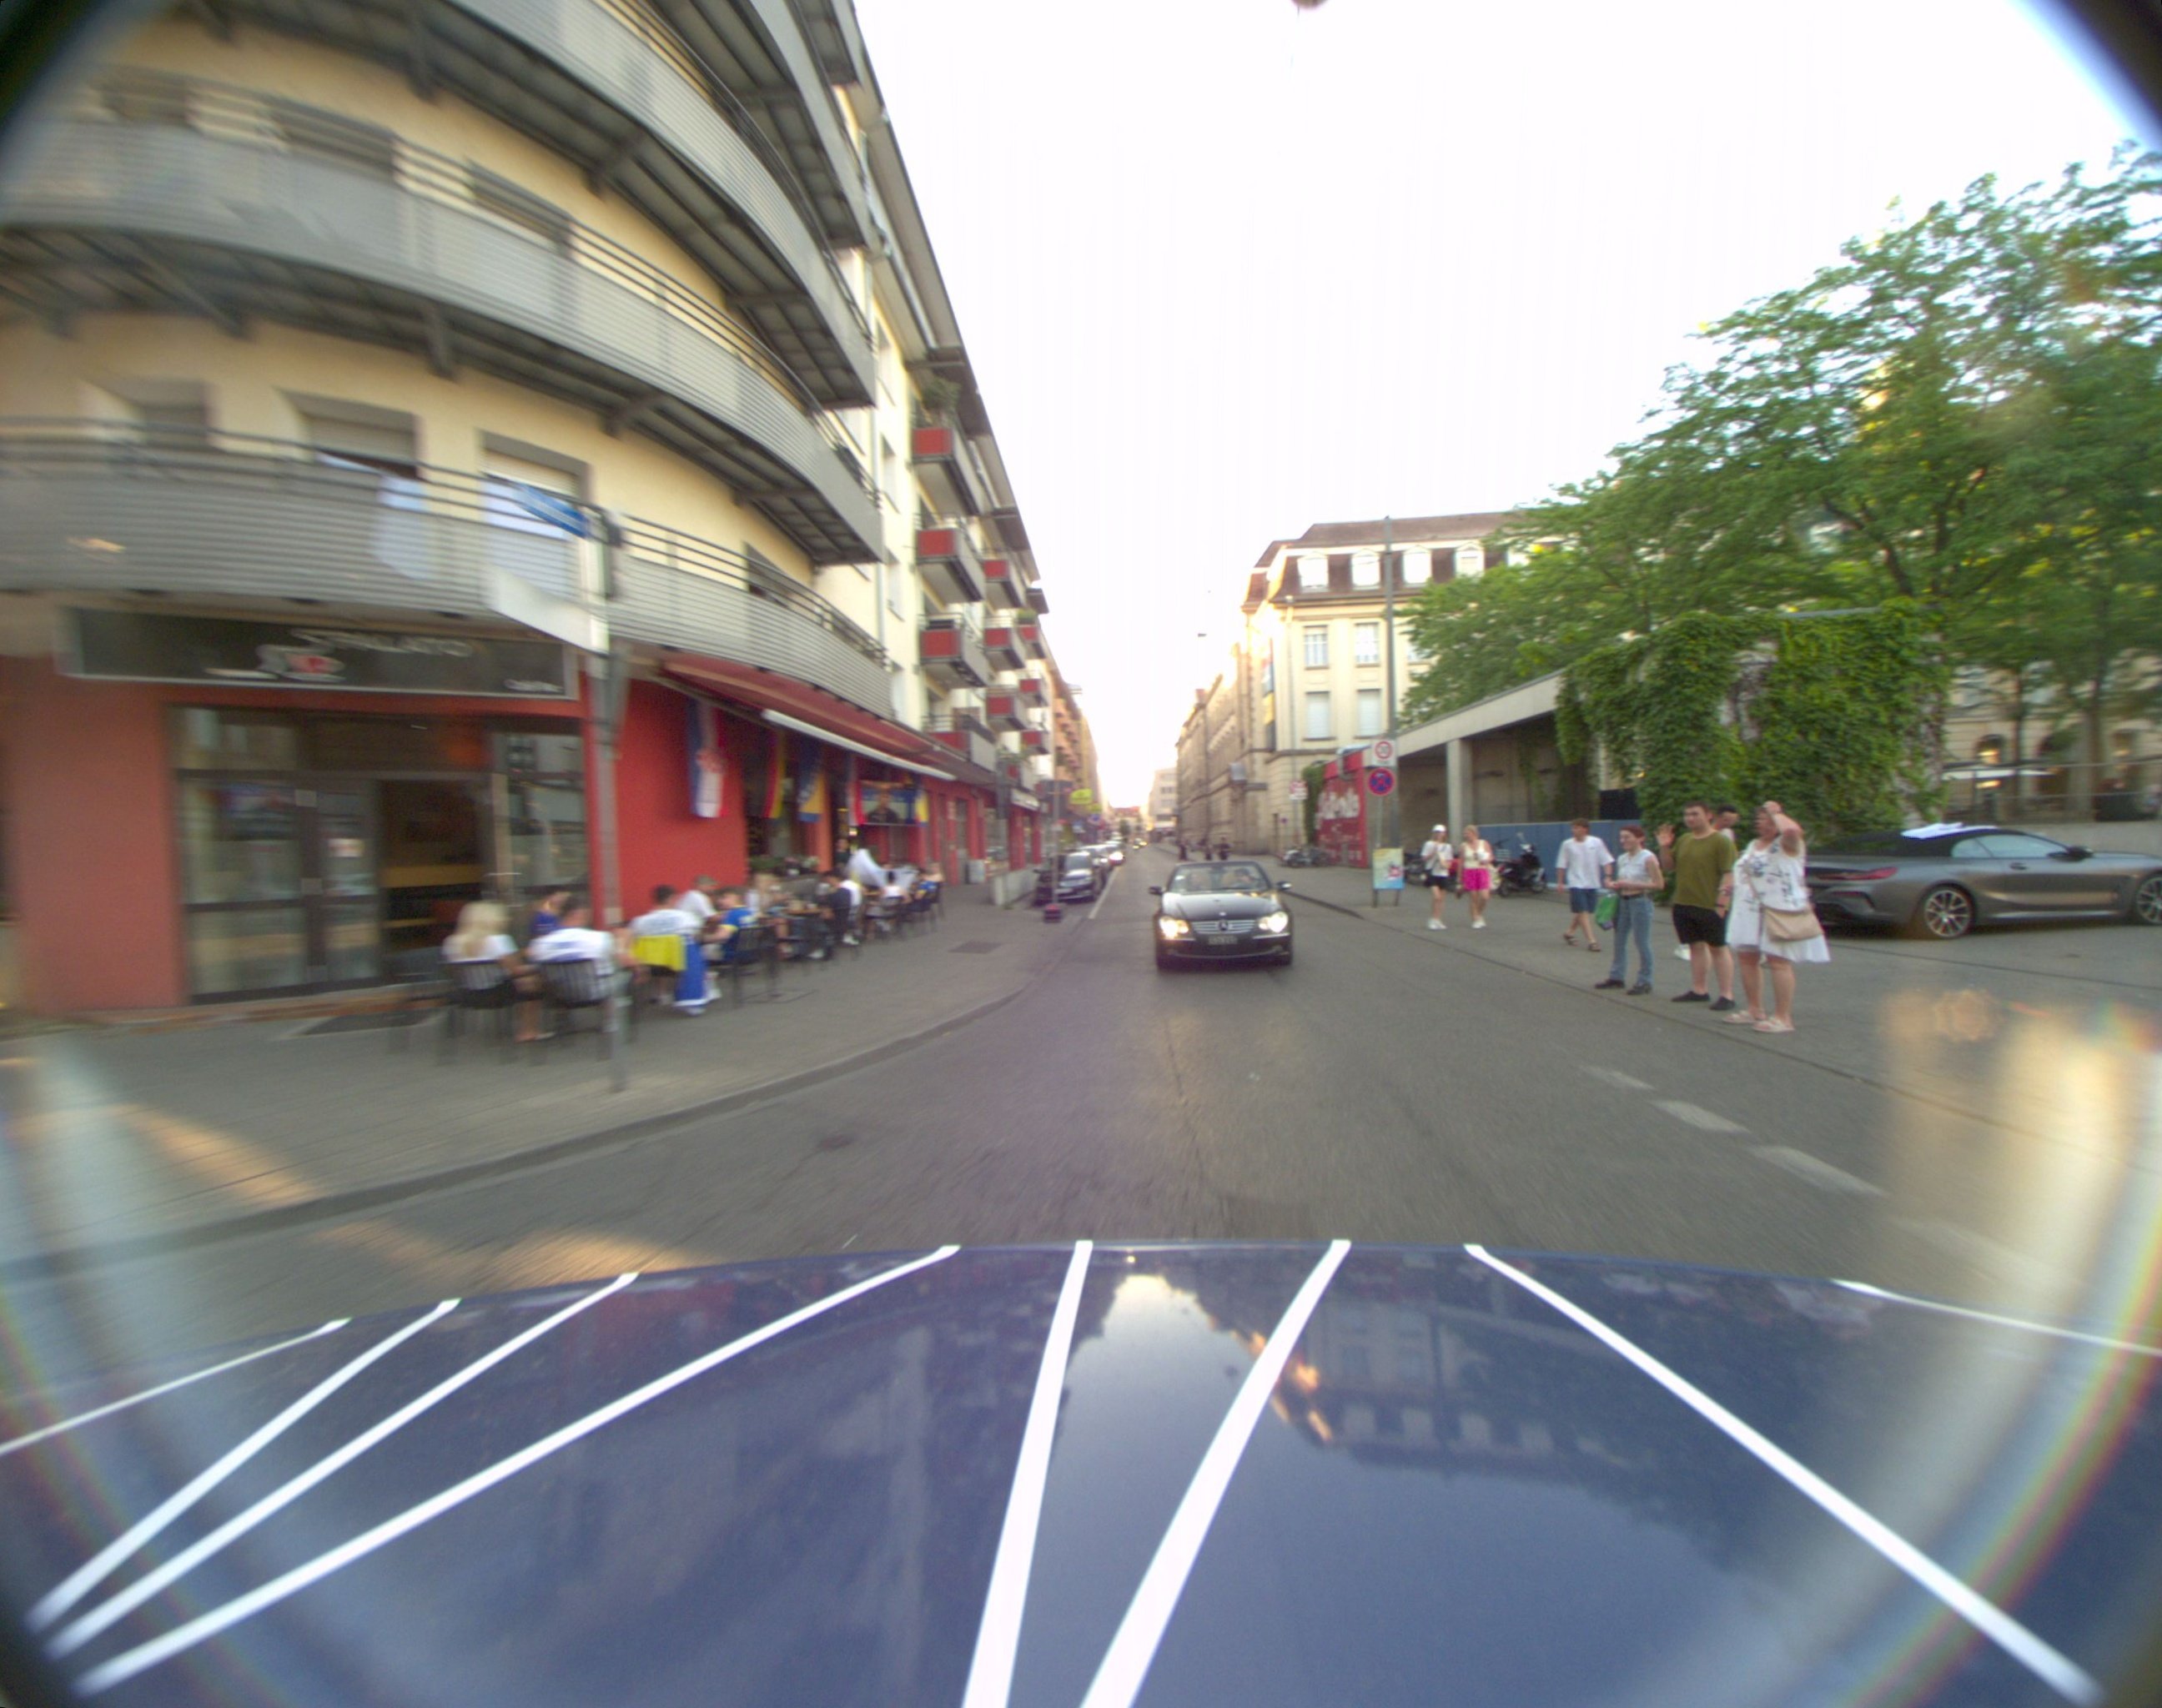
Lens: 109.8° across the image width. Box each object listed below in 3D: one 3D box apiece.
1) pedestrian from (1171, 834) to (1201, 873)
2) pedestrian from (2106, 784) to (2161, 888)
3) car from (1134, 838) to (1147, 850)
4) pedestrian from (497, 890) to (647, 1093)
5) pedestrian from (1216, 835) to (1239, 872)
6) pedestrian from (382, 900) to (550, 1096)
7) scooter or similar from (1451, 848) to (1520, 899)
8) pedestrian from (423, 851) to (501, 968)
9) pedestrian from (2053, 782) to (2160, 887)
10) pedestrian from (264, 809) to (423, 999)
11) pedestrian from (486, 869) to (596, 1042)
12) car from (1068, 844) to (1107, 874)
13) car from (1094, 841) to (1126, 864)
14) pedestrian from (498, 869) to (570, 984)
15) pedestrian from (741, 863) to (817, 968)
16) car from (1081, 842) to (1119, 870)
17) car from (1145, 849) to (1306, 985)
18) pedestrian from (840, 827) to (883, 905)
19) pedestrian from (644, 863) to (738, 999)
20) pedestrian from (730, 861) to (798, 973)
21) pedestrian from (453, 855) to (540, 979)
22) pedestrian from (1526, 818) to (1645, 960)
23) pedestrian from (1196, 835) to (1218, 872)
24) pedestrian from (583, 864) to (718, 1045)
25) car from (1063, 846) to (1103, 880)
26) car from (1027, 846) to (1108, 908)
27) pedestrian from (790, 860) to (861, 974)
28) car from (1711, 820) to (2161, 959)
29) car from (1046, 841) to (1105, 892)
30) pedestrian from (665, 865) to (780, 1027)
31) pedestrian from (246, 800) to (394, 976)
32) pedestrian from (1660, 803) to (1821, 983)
[{"bbox_3d":[5.096,-0.008,36.898,1.009,1.817,0.944,-4,2,-22],"label":"pedestrian"},{"bbox_3d":[19.014,-0.329,13.282,0.702,1.809,1.123,-3,2,2],"label":"pedestrian"},{"bbox_3d":[10.547,-1.795,134.527,1.997,2.002,4.001,-2,2,8],"label":"car"},{"bbox_3d":[-3.961,1.019,5.996,0.771,1.374,0.837,-2,3,-22],"label":"pedestrian"},{"bbox_3d":[7.005,-0.027,36.408,0.833,1.717,0.920,-3,2,0],"label":"pedestrian"},{"bbox_3d":[-4.763,1.063,5.966,0.686,1.275,0.966,-3,4,-21],"label":"pedestrian"},{"bbox_3d":[9.490,0.445,17.812,1.498,1.082,0.410,-4,2,-14],"label":"scooter or similar"},{"bbox_3d":[-9.766,0.861,12.008,0.611,1.767,0.617,-3,2,1],"label":"pedestrian"},{"bbox_3d":[18.009,-0.339,13.368,0.761,1.771,0.798,-2,2,5],"label":"pedestrian"},{"bbox_3d":[-8.245,0.526,8.523,0.910,2.002,0.856,-2,2,18],"label":"pedestrian"},{"bbox_3d":[-5.255,0.932,7.448,0.715,1.527,0.851,-4,2,-31],"label":"pedestrian"},{"bbox_3d":[0.412,0.232,41.372,1.767,1.468,3.948,-3,1,4],"label":"car"},{"bbox_3d":[2.071,-0.145,53.380,1.896,1.468,4.301,-3,1,6],"label":"car"},{"bbox_3d":[-8.806,1.143,12.251,0.612,1.767,0.617,-3,2,-4],"label":"pedestrian"},{"bbox_3d":[-4.581,0.908,11.569,0.769,1.495,0.783,-2,2,1],"label":"pedestrian"},{"bbox_3d":[1.203,0.083,45.749,1.866,1.468,4.395,-3,1,6],"label":"car"},{"bbox_3d":[1.892,0.717,11.030,1.808,1.400,4.617,-1,2,6],"label":"car"},{"bbox_3d":[-5.845,0.309,20.265,0.669,2.002,0.815,-2,2,14],"label":"pedestrian"},{"bbox_3d":[-4.728,0.903,9.220,0.751,1.527,0.649,-2,2,36],"label":"pedestrian"},{"bbox_3d":[-4.513,0.878,10.866,0.675,1.527,0.654,0,2,1],"label":"pedestrian"},{"bbox_3d":[-9.857,1.035,12.840,0.814,2.002,0.670,-3,2,3],"label":"pedestrian"},{"bbox_3d":[6.779,0.449,10.265,0.984,1.784,0.890,-3,2,6],"label":"pedestrian"},{"bbox_3d":[6.127,-0.037,36.963,0.920,1.717,0.703,-3,2,-1],"label":"pedestrian"},{"bbox_3d":[-3.946,0.884,6.999,0.713,1.528,0.690,-1,3,21],"label":"pedestrian"},{"bbox_3d":[0.143,0.399,35.994,1.752,1.395,3.966,-3,1,2],"label":"car"},{"bbox_3d":[-0.292,0.625,23.487,1.878,1.543,4.631,-3,1,6],"label":"car"},{"bbox_3d":[-3.583,0.862,10.711,0.714,1.527,0.759,1,1,0],"label":"pedestrian"},{"bbox_3d":[11.551,0.400,10.217,4.447,1.422,2.106,-4,1,-2],"label":"car"},{"bbox_3d":[-0.119,0.424,29.602,1.883,1.690,4.138,-3,1,4],"label":"car"},{"bbox_3d":[-3.669,0.901,7.834,0.713,1.527,0.853,2,2,5],"label":"pedestrian"},{"bbox_3d":[-9.096,0.387,9.112,0.813,2.002,0.863,-2,2,18],"label":"pedestrian"},{"bbox_3d":[7.354,0.417,8.525,0.984,1.873,0.890,-3,2,6],"label":"pedestrian"}]
